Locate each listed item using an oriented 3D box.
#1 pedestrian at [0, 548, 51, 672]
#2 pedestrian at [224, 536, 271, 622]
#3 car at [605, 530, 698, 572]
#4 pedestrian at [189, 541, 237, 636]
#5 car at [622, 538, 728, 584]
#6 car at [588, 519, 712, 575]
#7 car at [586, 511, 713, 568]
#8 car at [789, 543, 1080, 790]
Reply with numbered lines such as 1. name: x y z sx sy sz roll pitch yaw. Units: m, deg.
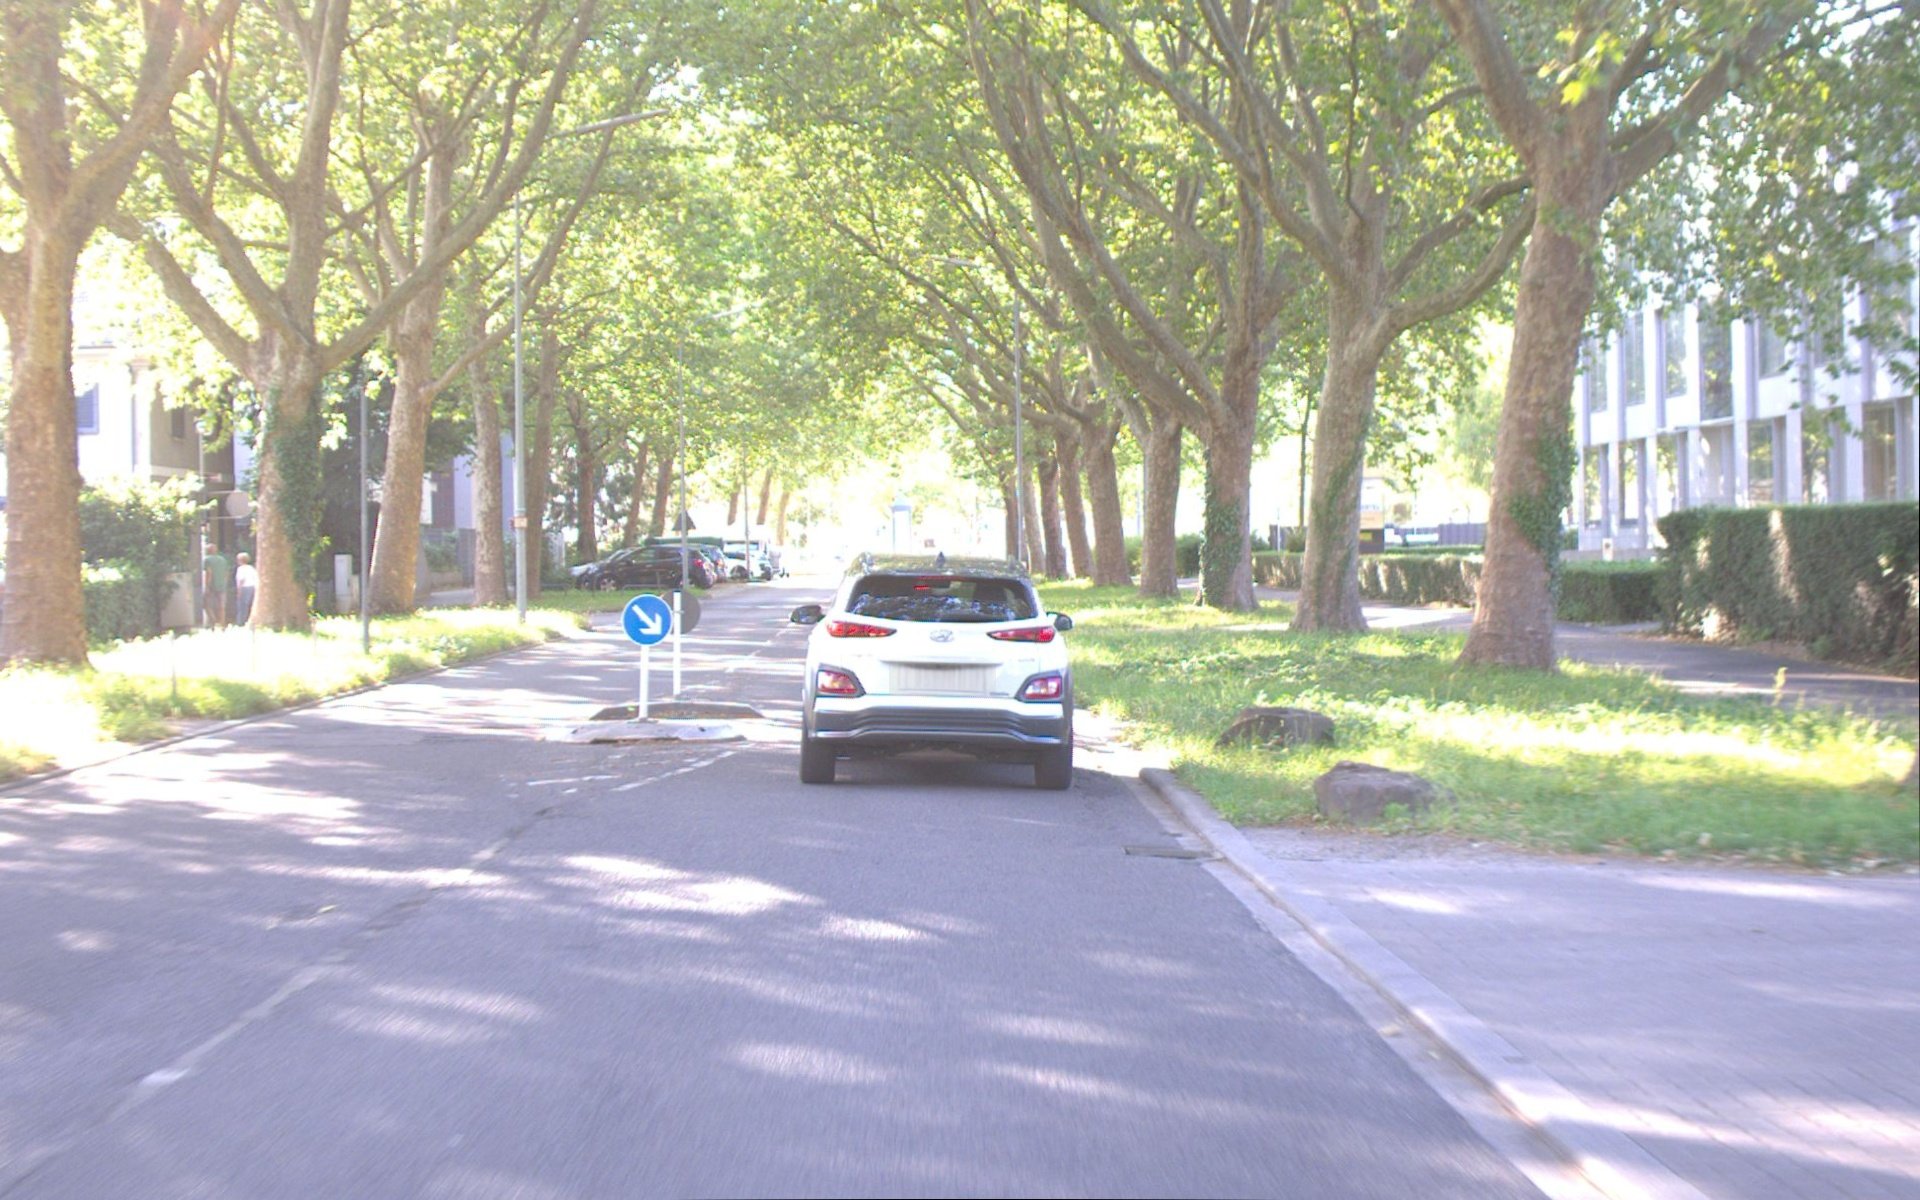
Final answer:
1. pedestrian: -13.064 0.139 47.602 0.749 1.701 0.793 1 0 -1
2. pedestrian: -14.254 -0.418 68.795 0.749 1.702 0.793 0 0 -25
3. car: -13.321 -2.125 148.371 3.986 1.766 2.000 0 1 -5
4. pedestrian: -14.815 -0.229 68.188 0.749 1.868 0.793 0 0 -27
5. car: -10.902 -1.498 131.458 3.986 1.766 2.000 0 1 -5
6. car: -10.147 -1.727 112.543 3.986 1.766 2.000 0 0 -5
7. car: -9.886 -1.903 109.425 3.986 1.766 2.000 0 0 -5
8. car: -0.208 0.412 24.217 1.835 1.550 4.000 2 0 -1
